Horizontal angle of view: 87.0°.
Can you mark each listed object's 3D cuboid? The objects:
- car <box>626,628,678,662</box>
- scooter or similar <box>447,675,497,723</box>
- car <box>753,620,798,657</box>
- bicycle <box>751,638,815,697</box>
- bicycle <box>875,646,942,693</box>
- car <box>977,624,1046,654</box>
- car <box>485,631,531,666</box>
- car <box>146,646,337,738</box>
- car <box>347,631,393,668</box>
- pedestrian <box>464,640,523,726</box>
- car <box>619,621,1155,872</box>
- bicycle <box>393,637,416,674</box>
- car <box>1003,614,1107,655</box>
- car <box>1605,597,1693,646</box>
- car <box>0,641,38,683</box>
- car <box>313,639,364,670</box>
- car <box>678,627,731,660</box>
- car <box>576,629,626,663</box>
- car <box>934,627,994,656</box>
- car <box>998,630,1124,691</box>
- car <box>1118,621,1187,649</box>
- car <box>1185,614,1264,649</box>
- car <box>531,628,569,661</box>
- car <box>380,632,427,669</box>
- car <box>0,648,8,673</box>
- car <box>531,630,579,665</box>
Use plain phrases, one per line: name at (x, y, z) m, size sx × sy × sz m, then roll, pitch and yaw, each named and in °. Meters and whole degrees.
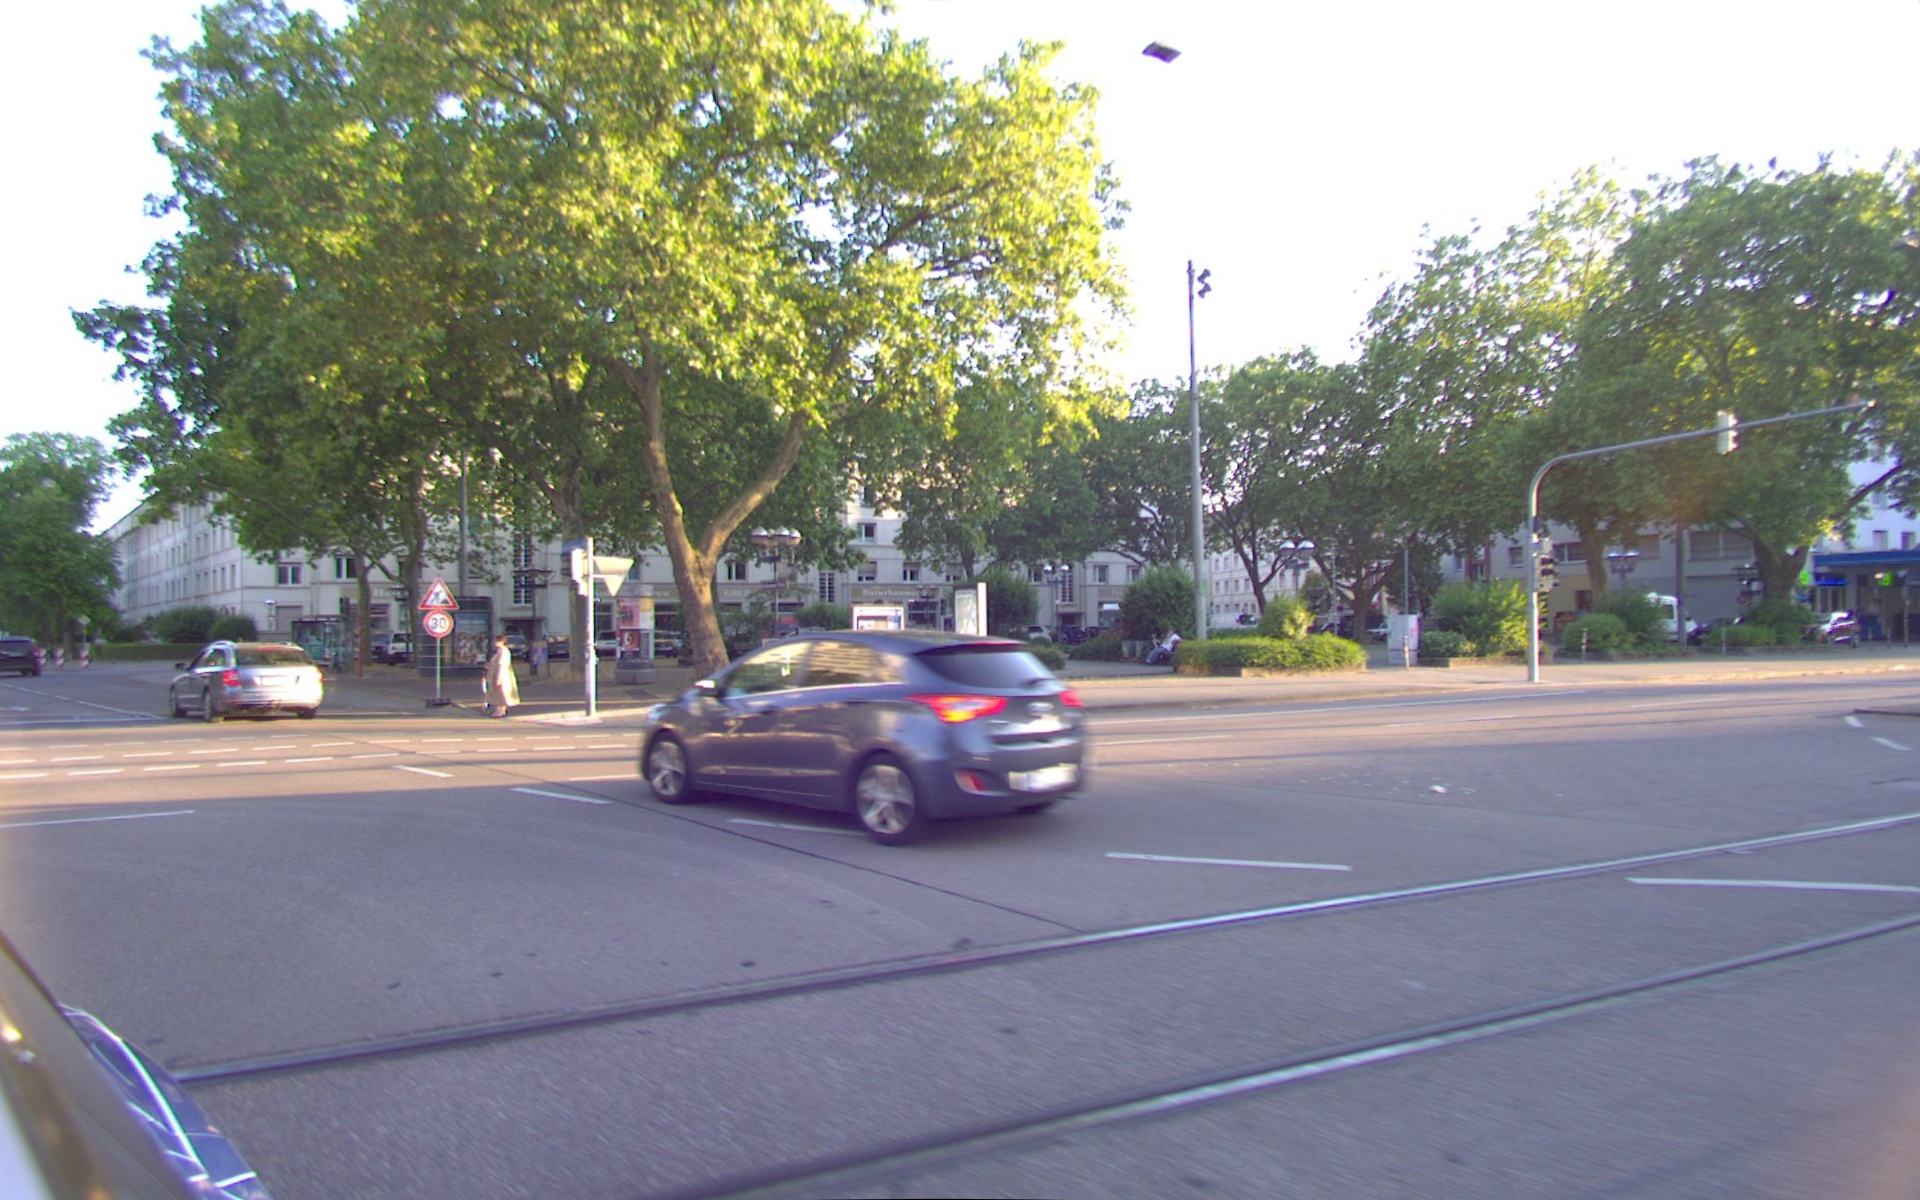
car at (-17.481, 2.594, 57.292) m, size 1.965 × 1.795 × 4.655 m, roll 1°, pitch -4°, yaw -27°
scooter or similar at (-9.996, 2.019, 20.715) m, size 0.850 × 0.904 × 0.586 m, roll -2°, pitch -1°, yaw 36°
car at (-13.152, 2.694, 72.014) m, size 1.965 × 2.460 × 4.656 m, roll 1°, pitch -1°, yaw -25°
bicycle at (-4.300, 1.616, 24.520) m, size 0.519 × 1.336 × 1.996 m, roll 0°, pitch -1°, yaw -43°
bicycle at (-1.276, 1.691, 24.842) m, size 1.798 × 1.101 × 0.453 m, roll -2°, pitch -1°, yaw 40°
car at (3.059, 2.320, 60.405) m, size 3.696 × 1.674 × 1.679 m, roll -1°, pitch -1°, yaw -22°
car at (-24.223, 2.639, 54.171) m, size 1.965 × 1.795 × 4.655 m, roll 1°, pitch -4°, yaw -27°
car at (-14.121, 1.697, 19.791) m, size 4.766 × 1.570 × 1.973 m, roll -2°, pitch -3°, yaw 41°
car at (-35.121, 2.904, 60.327) m, size 1.965 × 1.970 × 4.656 m, roll 1°, pitch -1°, yaw -25°
pedestrian at (-9.325, 1.646, 20.245) m, size 0.772 × 1.640 × 0.794 m, roll -2°, pitch -1°, yaw 37°
car at (-0.756, 0.956, 8.149) m, size 4.137 × 1.488 × 1.973 m, roll -2°, pitch -3°, yaw 41°
bicycle at (-26.209, 2.576, 47.804) m, size 0.680 × 1.626 × 2.754 m, roll -1°, pitch -1°, yaw -23°
car at (4.452, 1.628, 47.331) m, size 4.423 × 1.795 × 2.006 m, roll 1°, pitch -4°, yaw -27°
car at (35.592, 1.086, 52.312) m, size 3.931 × 2.361 × 2.006 m, roll -1°, pitch -1°, yaw -26°
car at (-43.976, 2.842, 46.401) m, size 4.795 × 1.798 × 1.973 m, roll -3°, pitch -2°, yaw 41°
car at (-31.398, 2.783, 51.078) m, size 1.966 × 1.515 × 4.653 m, roll 2°, pitch -4°, yaw -34°
car at (-14.882, 2.559, 58.742) m, size 1.965 × 1.795 × 4.655 m, roll 1°, pitch -4°, yaw -27°
car at (-19.918, 2.597, 56.088) m, size 1.965 × 1.795 × 4.655 m, roll 1°, pitch -4°, yaw -27°
car at (0.197, 2.686, 65.454) m, size 1.965 × 1.748 × 4.655 m, roll 1°, pitch -4°, yaw -27°
car at (3.074, 1.920, 32.060) m, size 1.965 × 1.795 × 4.655 m, roll 1°, pitch -4°, yaw -23°
car at (13.641, 2.503, 71.846) m, size 1.967 × 1.824 × 4.659 m, roll 2°, pitch -4°, yaw -37°
car at (15.991, 1.943, 61.476) m, size 1.965 × 1.953 × 4.655 m, roll 1°, pitch -4°, yaw -27°
car at (-26.234, 2.801, 64.682) m, size 1.965 × 1.970 × 4.656 m, roll 1°, pitch -1°, yaw -25°
car at (-28.469, 2.622, 51.892) m, size 1.965 × 1.795 × 4.655 m, roll 1°, pitch -4°, yaw -27°
car at (-67.000, 4.197, 69.863) m, size 1.866 × 1.612 × 4.004 m, roll -1°, pitch -1°, yaw -43°
car at (-22.149, 2.626, 55.213) m, size 1.965 × 1.795 × 4.655 m, roll 1°, pitch -4°, yaw -27°
